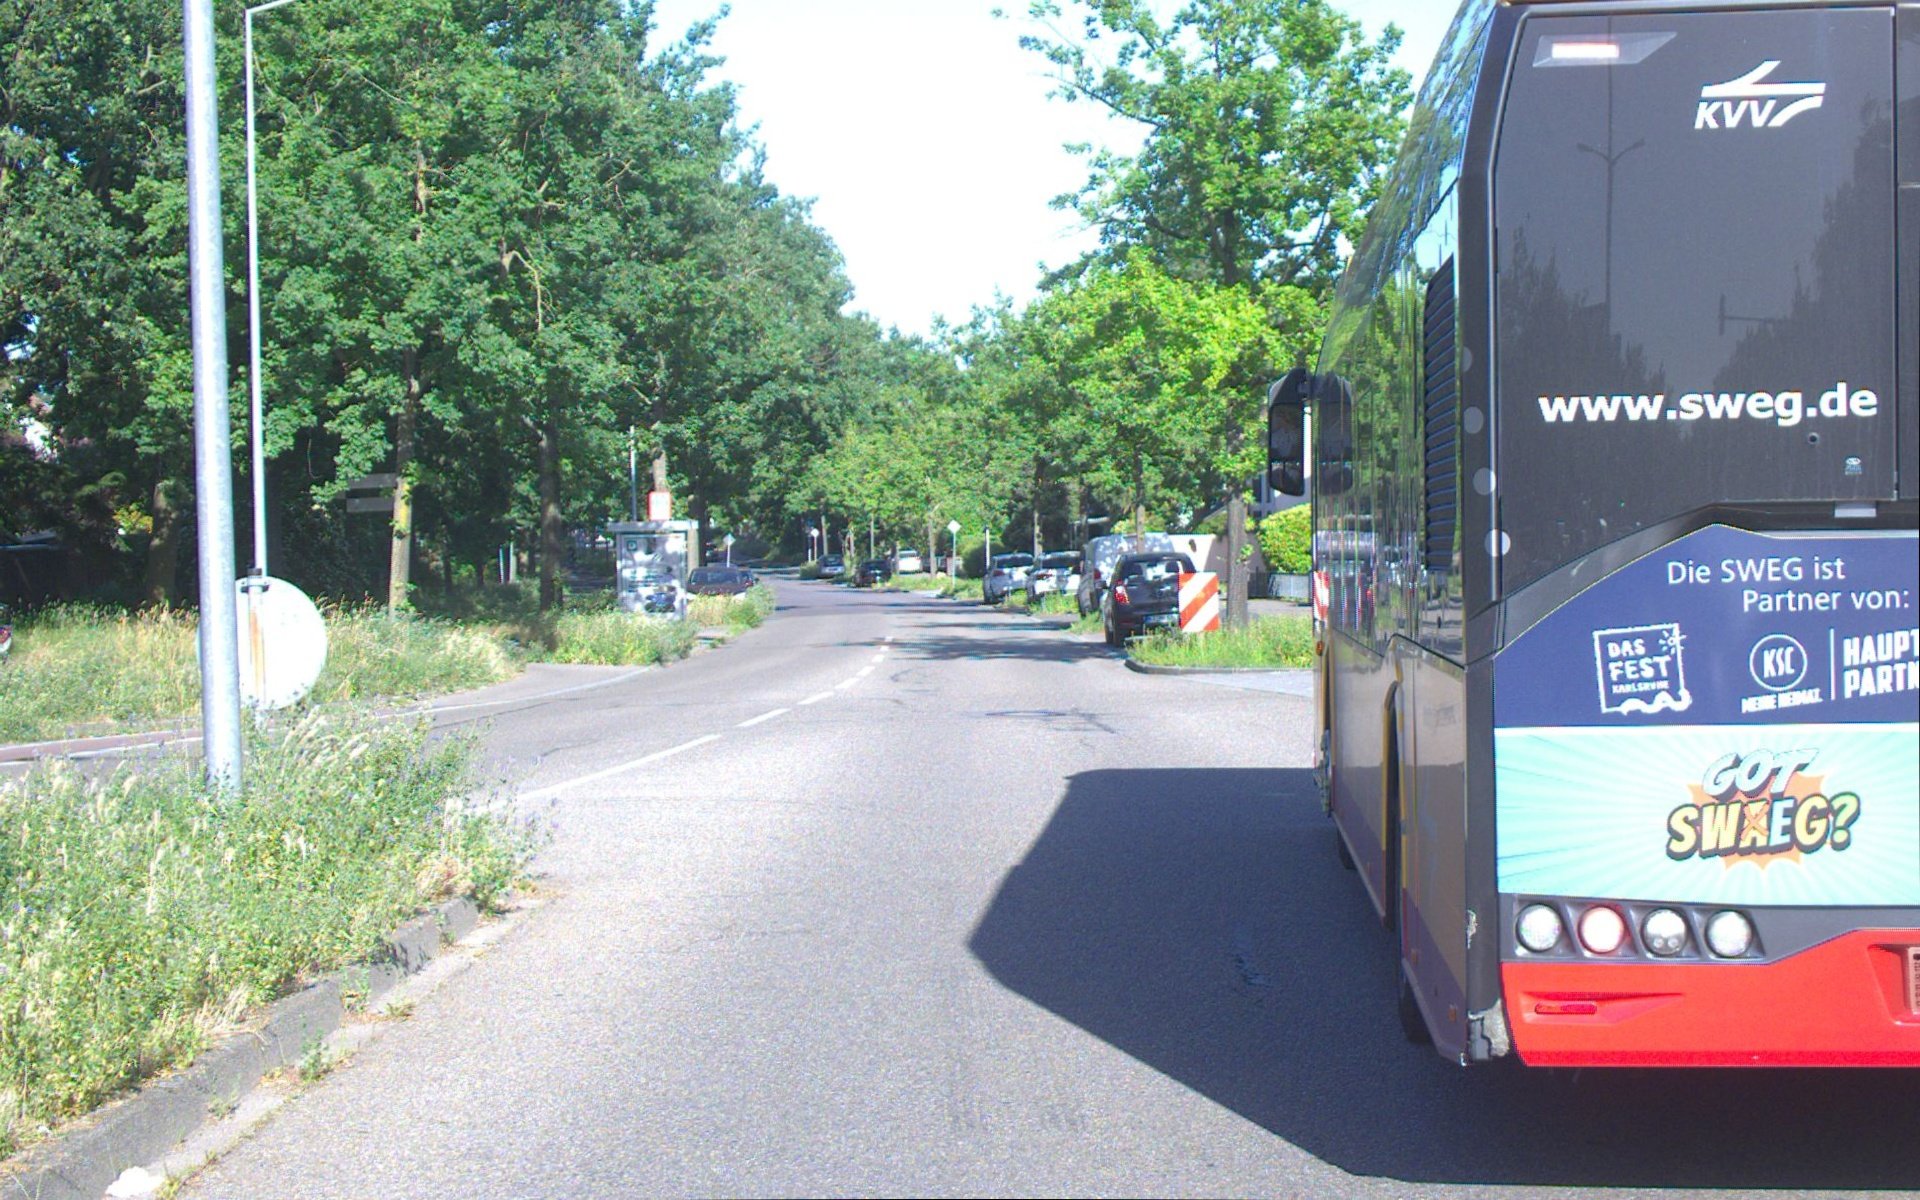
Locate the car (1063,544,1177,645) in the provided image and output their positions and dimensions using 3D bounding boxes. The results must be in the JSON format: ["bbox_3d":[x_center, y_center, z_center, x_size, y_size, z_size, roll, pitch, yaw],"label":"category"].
[{"bbox_3d":[2.668,-0.113,58.081,1.672,1.573,3.752,-3,1,0],"label":"car"}]

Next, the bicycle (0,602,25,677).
[{"bbox_3d":[-13.911,0.572,49.209,0.505,1.050,1.880,-1,1,1],"label":"bicycle"}]

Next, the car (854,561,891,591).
[{"bbox_3d":[-4.735,-1.302,185.092,1.933,1.537,4.000,-1,1,-2],"label":"car"}]

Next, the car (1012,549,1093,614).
[{"bbox_3d":[2.492,-0.504,93.587,1.935,1.698,4.000,-1,1,-2],"label":"car"}]

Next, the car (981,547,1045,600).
[{"bbox_3d":[1.774,-0.896,116.226,1.933,1.736,4.000,-1,1,-2],"label":"car"}]

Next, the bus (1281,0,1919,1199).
[{"bbox_3d":[2.740,-0.409,13.284,2.758,3.446,12.395,-2,0,5],"label":"bus"}]

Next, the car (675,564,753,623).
[{"bbox_3d":[-6.343,-0.191,88.804,1.935,1.474,4.001,-1,1,-4],"label":"car"}]

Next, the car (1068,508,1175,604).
[{"bbox_3d":[3.420,-0.927,73.550,1.835,1.964,4.759,-1,1,-2],"label":"car"}]

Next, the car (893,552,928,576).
[{"bbox_3d":[-3.069,-2.206,211.387,1.933,1.449,4.001,-1,1,-3],"label":"car"}]

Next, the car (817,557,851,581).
[{"bbox_3d":[-7.710,-1.879,210.282,1.933,1.449,4.001,-1,1,-3],"label":"car"}]
